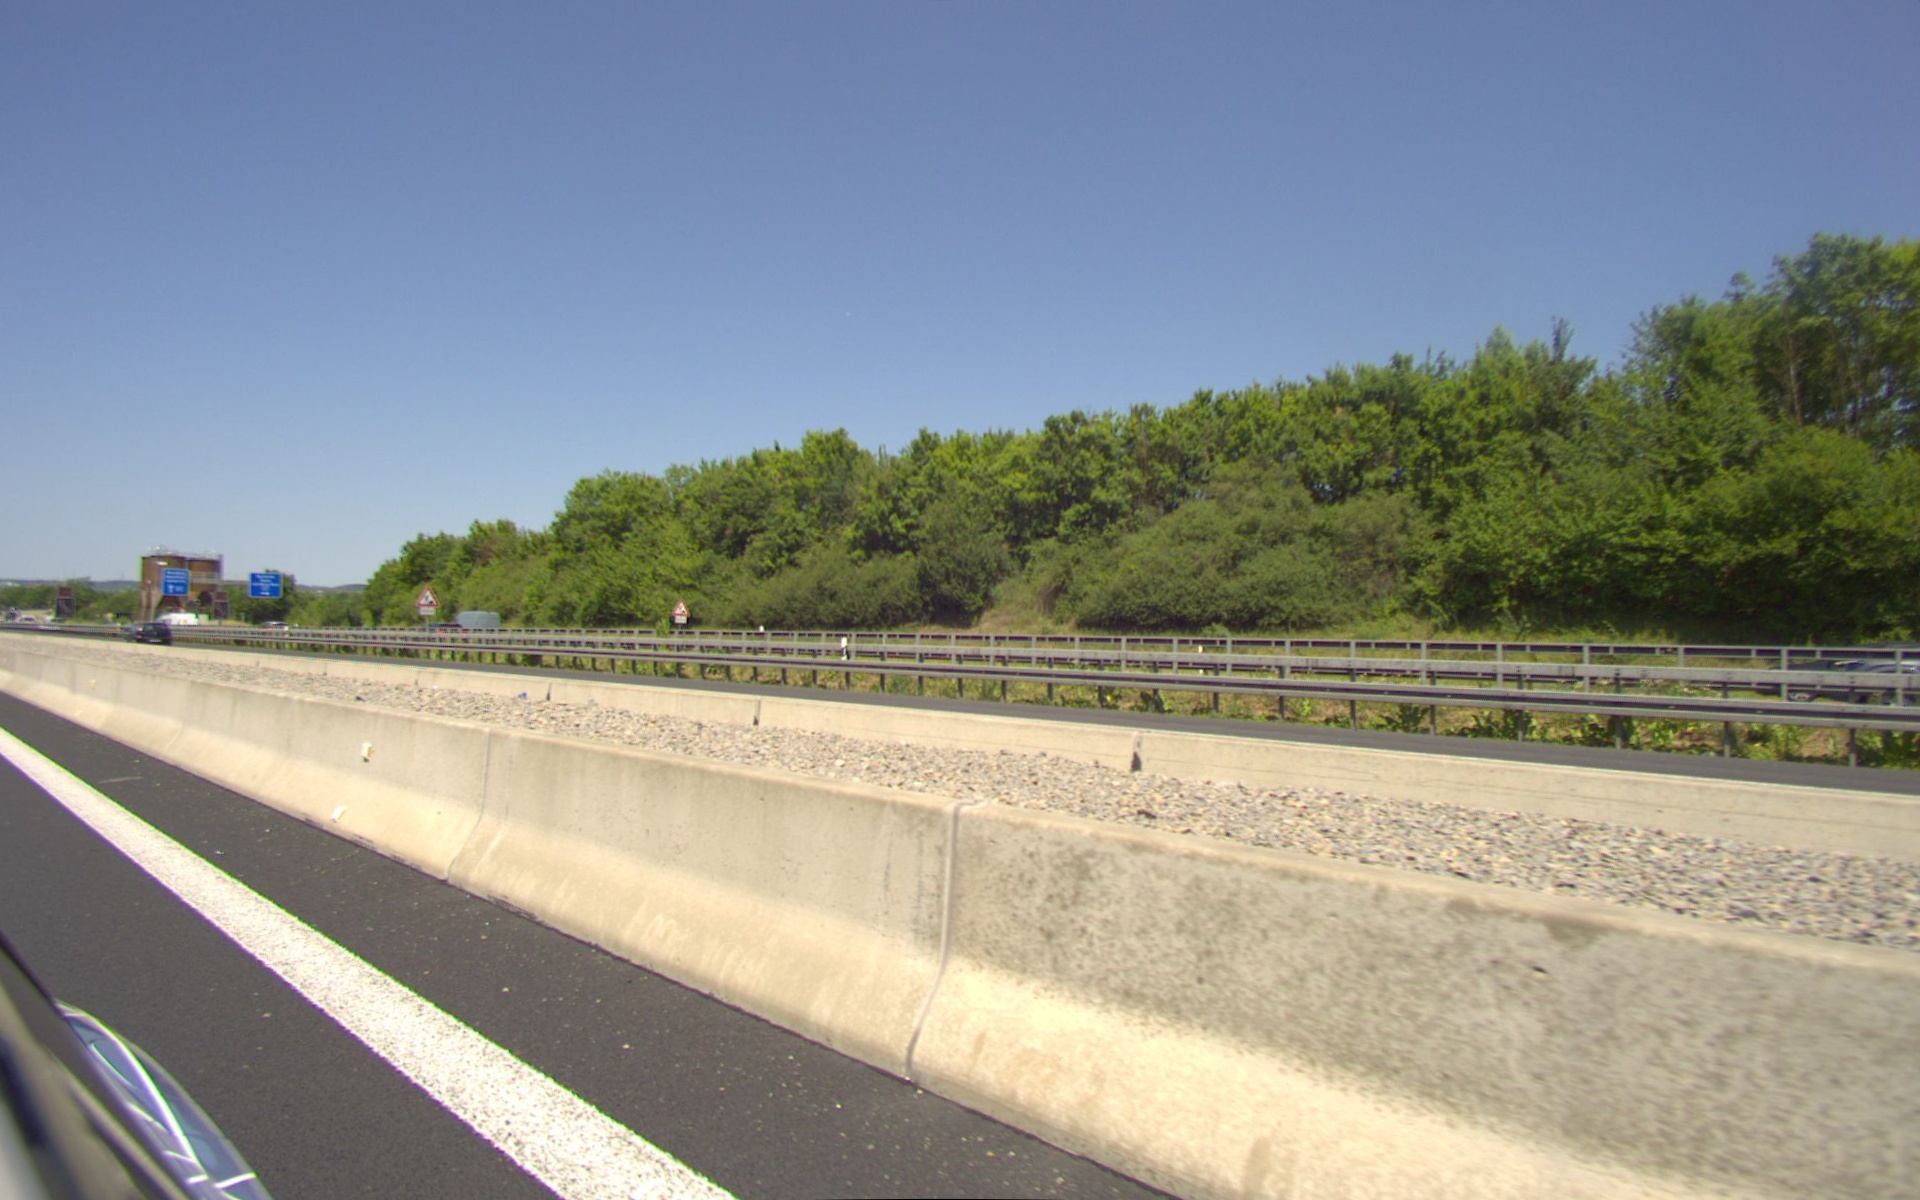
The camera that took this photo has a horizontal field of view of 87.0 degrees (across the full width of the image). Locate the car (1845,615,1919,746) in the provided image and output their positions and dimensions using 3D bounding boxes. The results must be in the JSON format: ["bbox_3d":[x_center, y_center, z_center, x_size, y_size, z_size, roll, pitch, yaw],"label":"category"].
[{"bbox_3d":[17.032,1.285,15.809,4.765,2.029,1.925,0,0,43],"label":"car"}]

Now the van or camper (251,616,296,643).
[{"bbox_3d":[-53.612,2.261,78.991,3.998,2.029,1.973,-1,0,41],"label":"van or camper"}]

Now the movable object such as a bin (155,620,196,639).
[{"bbox_3d":[-91.398,3.395,117.835,6.775,2.029,2.481,0,0,40],"label":"movable object such as a bin"}]

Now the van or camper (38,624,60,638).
[{"bbox_3d":[-163.861,5.529,182.022,6.964,2.272,2.085,0,0,42],"label":"van or camper"}]

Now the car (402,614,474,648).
[{"bbox_3d":[-29.911,1.725,57.900,5.036,1.871,1.972,-1,-1,42],"label":"car"}]

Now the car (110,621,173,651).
[{"bbox_3d":[-44.299,1.925,54.740,4.156,1.546,1.815,-1,-3,40],"label":"car"}]

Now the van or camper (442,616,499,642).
[{"bbox_3d":[-35.933,2.108,74.220,5.528,1.812,1.972,-1,-2,43],"label":"van or camper"}]

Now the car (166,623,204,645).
[{"bbox_3d":[-76.445,3.338,99.796,5.347,2.029,1.972,0,0,42],"label":"car"}]

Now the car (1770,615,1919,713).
[{"bbox_3d":[20.809,1.387,22.662,4.021,2.029,1.925,0,0,43],"label":"car"}]
